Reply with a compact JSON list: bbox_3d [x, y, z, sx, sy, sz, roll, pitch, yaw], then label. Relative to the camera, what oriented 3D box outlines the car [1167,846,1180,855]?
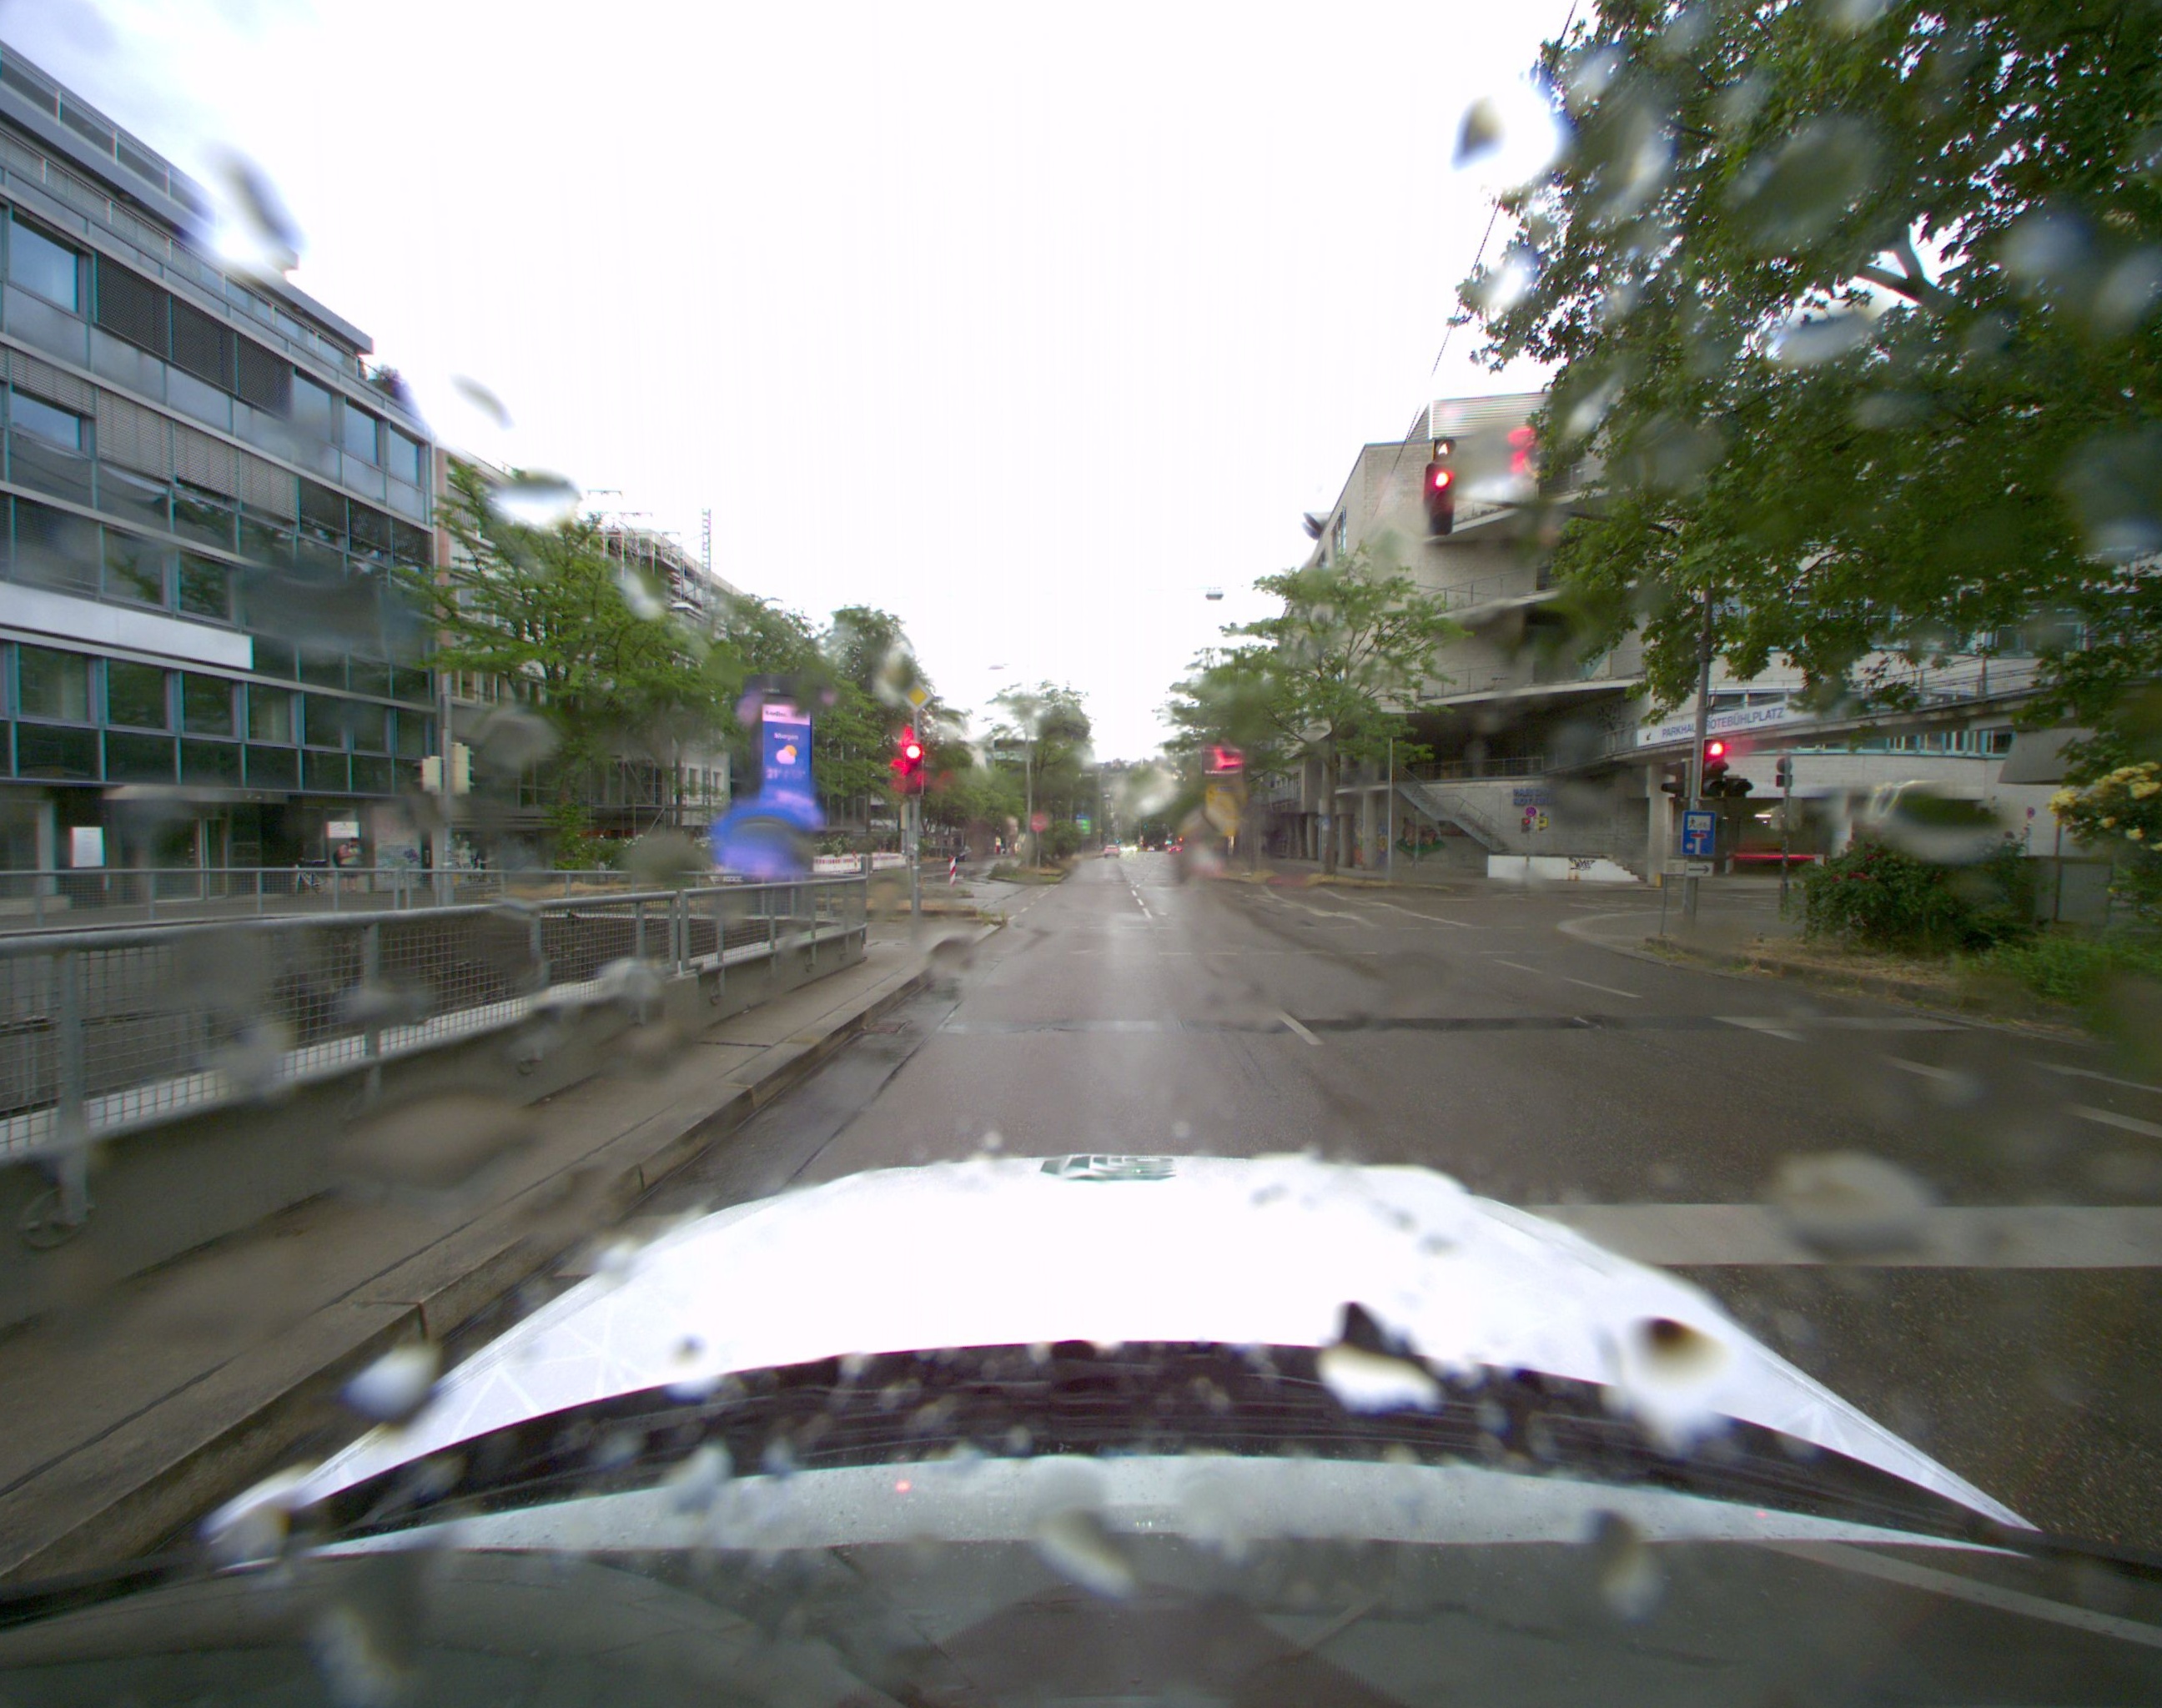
[{"bbox_3d":[17.637,-0.656,155.550,1.986,1.723,4.001,0,-1,1],"label":"car"}]

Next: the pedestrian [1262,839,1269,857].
[{"bbox_3d":[19.464,-0.601,85.944,0.770,1.920,0.705,-1,-1,11],"label":"pedestrian"}]

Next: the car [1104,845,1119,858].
[{"bbox_3d":[4.001,-0.337,106.272,1.823,1.640,4.300,1,0,0],"label":"car"}]

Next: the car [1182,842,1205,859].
[{"bbox_3d":[11.538,-0.356,83.337,2.324,1.691,4.010,0,0,9],"label":"car"}]

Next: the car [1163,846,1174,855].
[{"bbox_3d":[17.865,-0.676,166.633,1.986,1.736,4.001,0,-1,2],"label":"car"}]

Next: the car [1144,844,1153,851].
[{"bbox_3d":[18.374,-1.732,221.710,1.989,1.758,3.995,1,0,-4],"label":"car"}]

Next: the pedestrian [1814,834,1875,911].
[{"bbox_3d":[19.245,0.466,20.551,0.843,1.910,0.758,0,0,1],"label":"pedestrian"}]

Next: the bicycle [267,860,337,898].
[{"bbox_3d":[-22.954,0.720,24.031,0.444,1.085,1.567,0,0,6],"label":"bicycle"}]

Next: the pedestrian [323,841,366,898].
[{"bbox_3d":[-22.808,0.481,25.231,0.694,1.741,0.694,1,0,-4],"label":"pedestrian"}]
